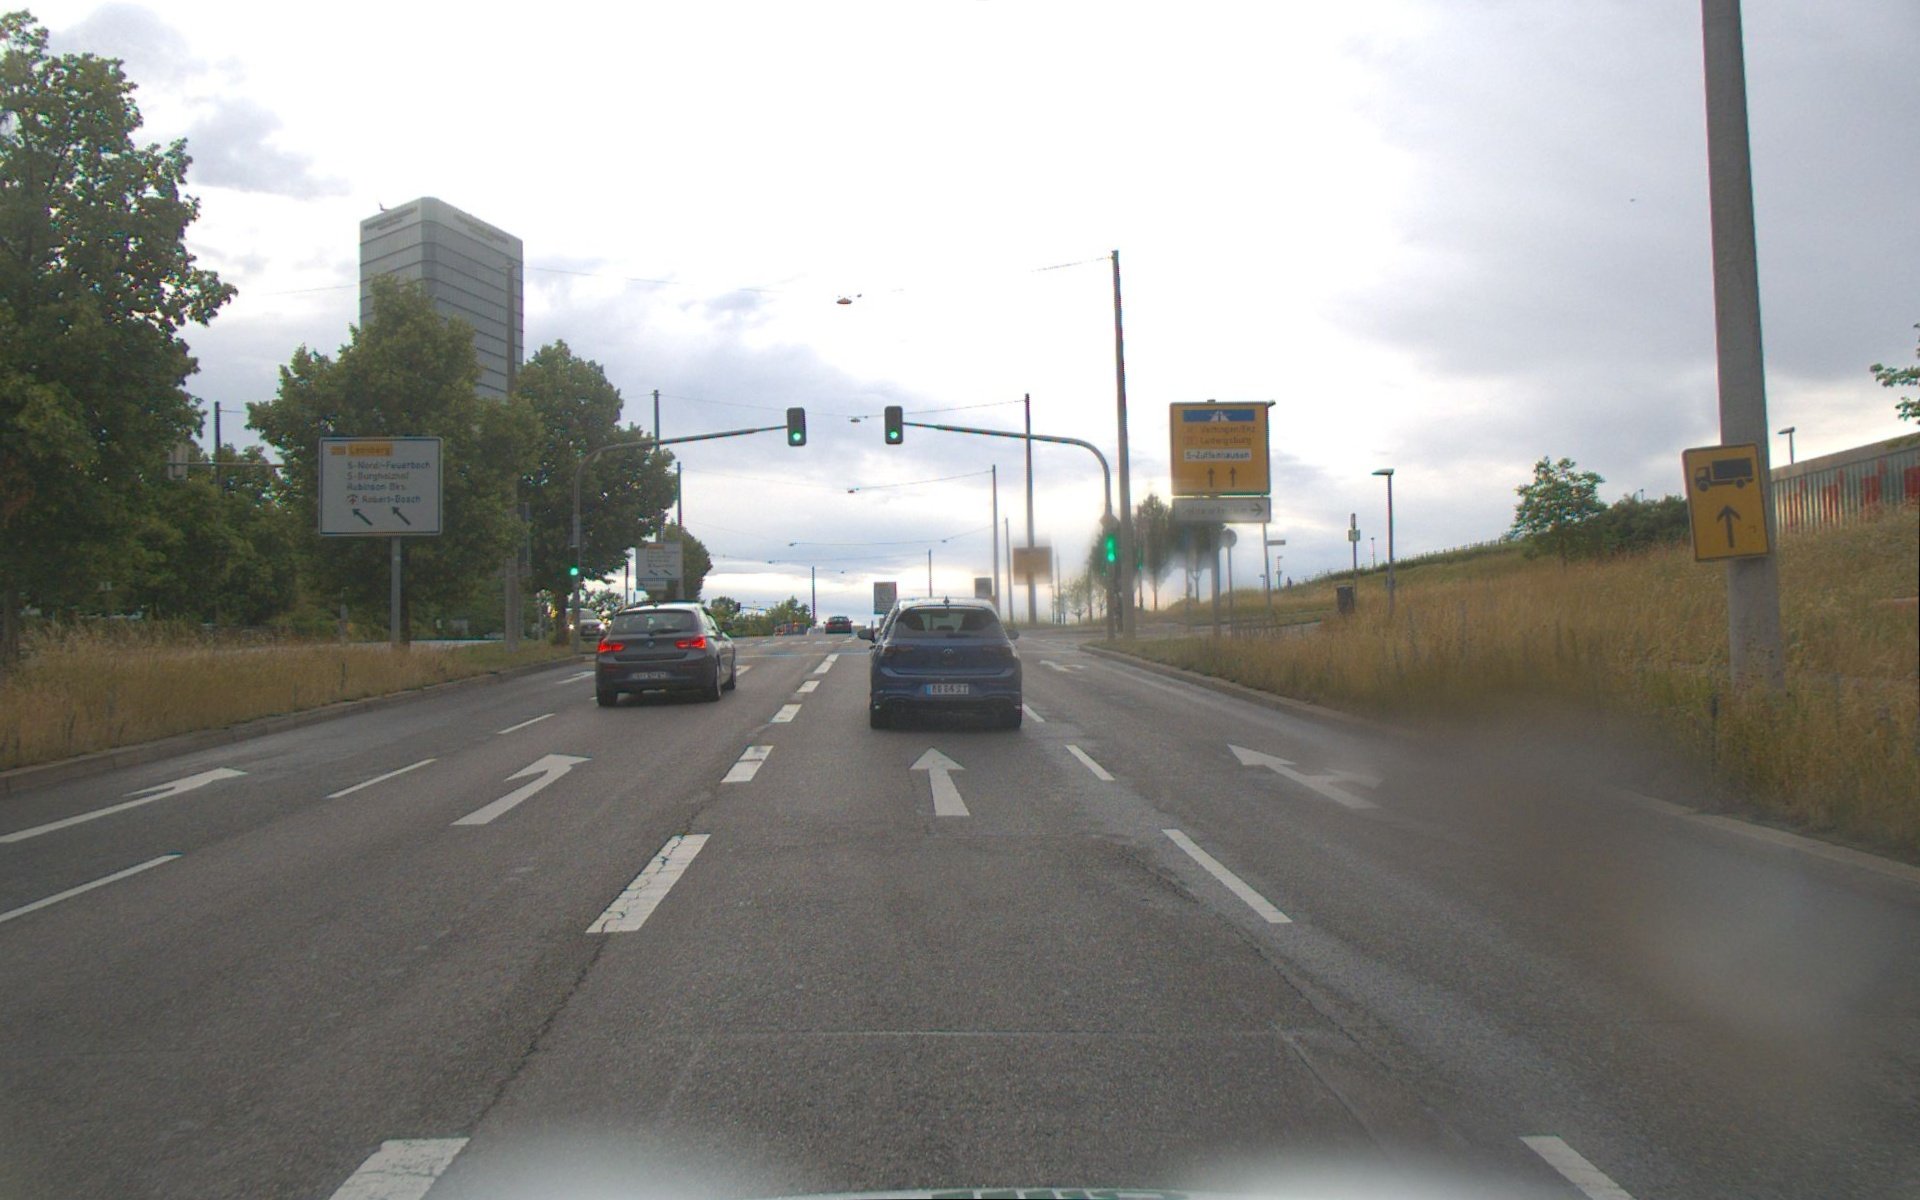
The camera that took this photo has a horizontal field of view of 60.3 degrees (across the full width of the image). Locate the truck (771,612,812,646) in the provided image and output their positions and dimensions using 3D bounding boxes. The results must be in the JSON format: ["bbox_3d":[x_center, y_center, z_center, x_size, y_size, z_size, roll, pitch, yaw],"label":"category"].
[{"bbox_3d":[-17.169,2.963,168.276,2.627,3.277,6.510,1,-3,-20],"label":"truck"}]

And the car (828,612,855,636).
[{"bbox_3d":[-8.033,1.625,111.609,1.689,1.568,3.699,1,0,-6],"label":"car"}]

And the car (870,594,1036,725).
[{"bbox_3d":[-0.133,0.645,19.977,1.801,1.418,3.998,0,0,-2],"label":"car"}]

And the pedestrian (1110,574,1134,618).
[{"bbox_3d":[6.166,-0.153,63.115,0.621,1.597,0.894,-4,3,-9],"label":"pedestrian"}]

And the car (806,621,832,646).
[{"bbox_3d":[-12.971,3.106,152.238,1.870,2.007,5.079,-2,-3,-10],"label":"car"}]

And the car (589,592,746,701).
[{"bbox_3d":[-4.308,0.649,24.906,1.832,1.487,3.973,-1,0,-3],"label":"car"}]

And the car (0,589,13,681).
[{"bbox_3d":[-18.392,0.656,28.672,1.955,1.668,4.014,0,0,-6],"label":"car"}]

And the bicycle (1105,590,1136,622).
[{"bbox_3d":[6.131,0.221,63.401,0.622,1.123,1.748,-5,3,-11],"label":"bicycle"}]

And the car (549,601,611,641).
[{"bbox_3d":[-16.291,0.871,70.821,1.865,1.533,3.970,0,1,-24],"label":"car"}]
